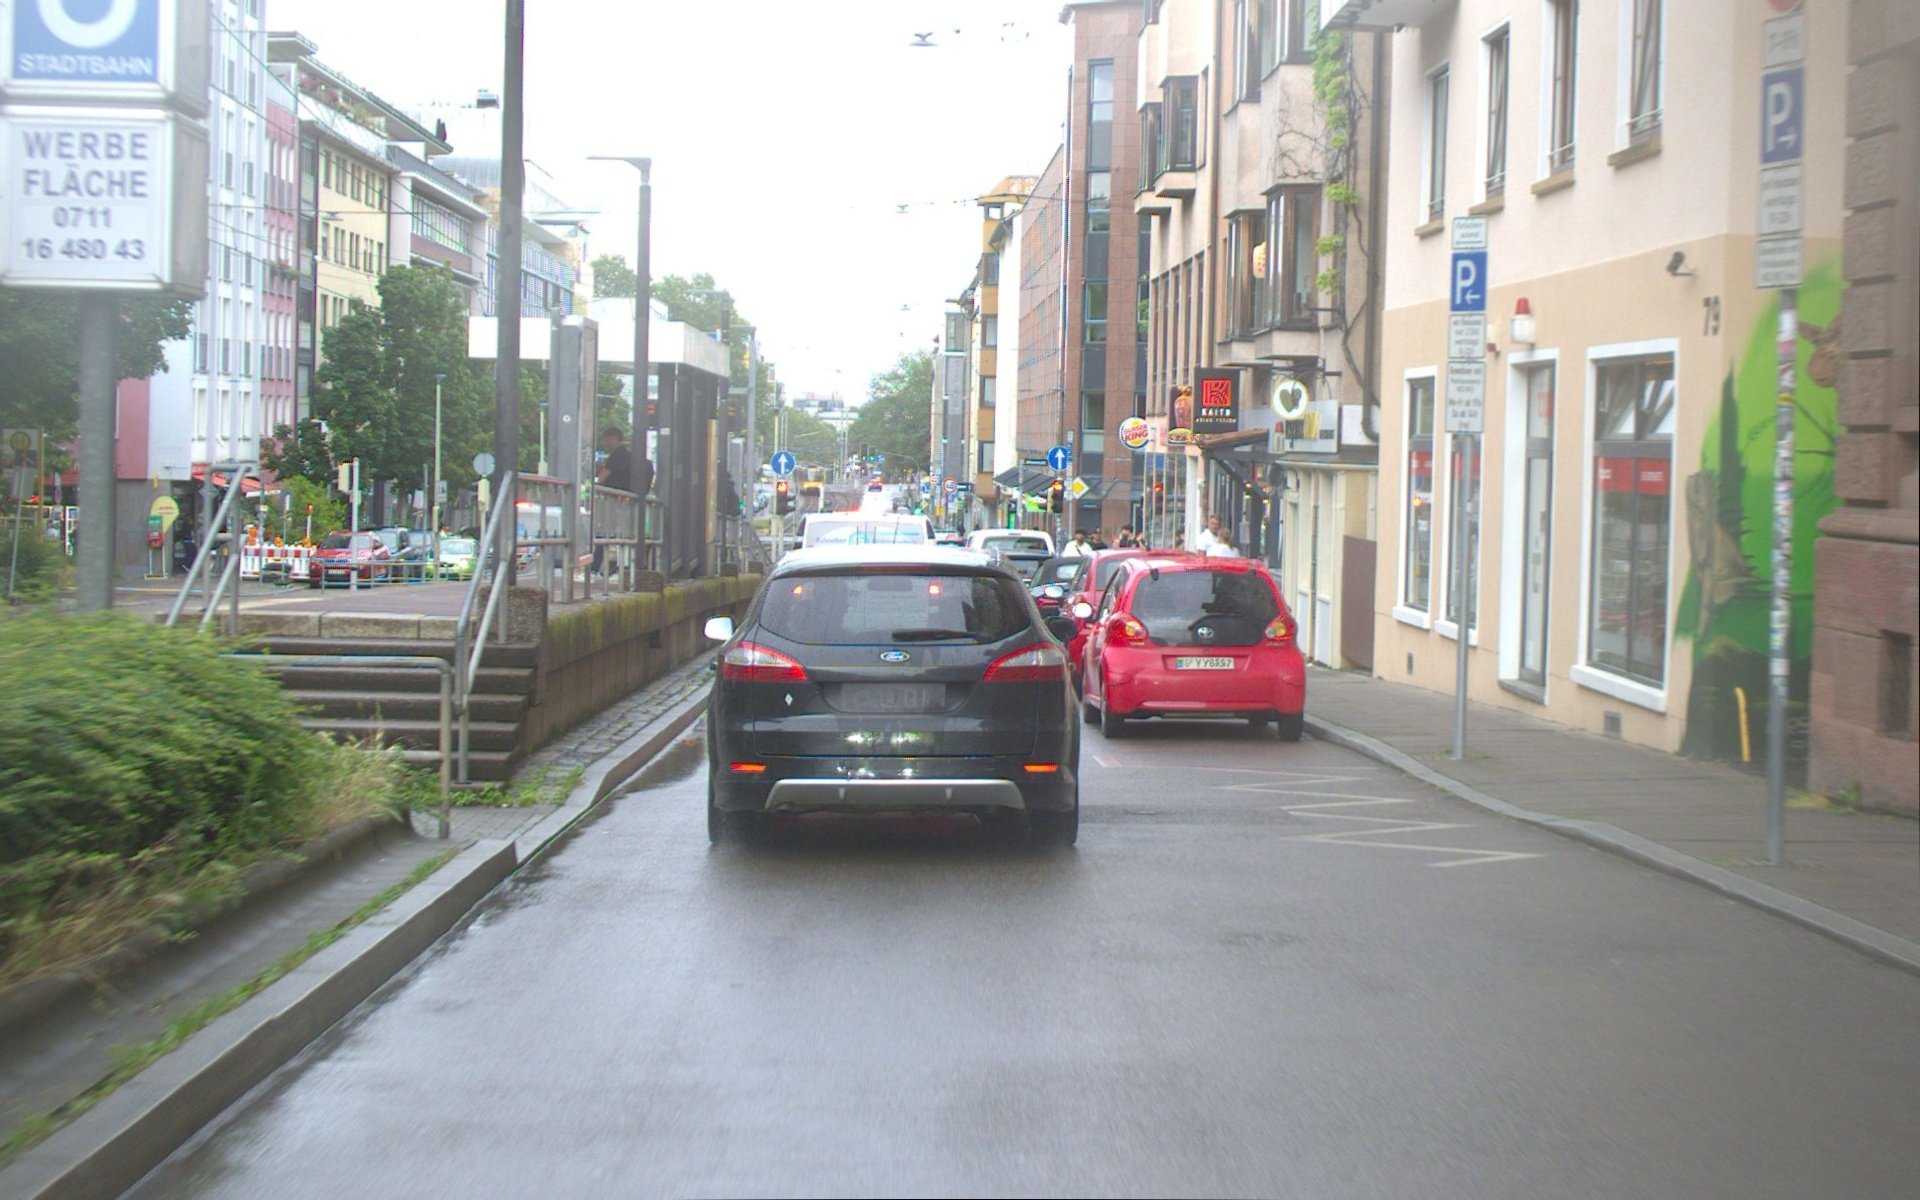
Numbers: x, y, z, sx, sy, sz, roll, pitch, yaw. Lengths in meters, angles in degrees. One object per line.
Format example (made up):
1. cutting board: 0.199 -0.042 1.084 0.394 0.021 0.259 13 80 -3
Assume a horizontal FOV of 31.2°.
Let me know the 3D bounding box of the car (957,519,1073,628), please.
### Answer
1. car: 0.944 -0.439 60.930 1.839 1.775 3.779 3 -1 -1

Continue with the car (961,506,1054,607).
1. car: 0.899 -0.816 66.594 1.591 1.775 3.779 3 -1 -1

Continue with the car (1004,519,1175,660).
1. car: 1.576 -0.110 43.139 1.858 1.579 3.779 3 -1 -1

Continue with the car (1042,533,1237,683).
1. car: 1.758 0.046 34.624 1.670 1.416 3.476 1 1 -1

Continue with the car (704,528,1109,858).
1. car: -0.357 0.401 17.738 1.842 1.502 4.001 0 1 -3

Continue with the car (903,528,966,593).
1. car: -0.870 -1.307 116.371 1.993 2.007 4.000 3 -1 -1

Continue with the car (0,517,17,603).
1. car: -16.368 -0.677 54.863 1.550 1.390 4.046 2 0 -1

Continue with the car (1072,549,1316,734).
1. car: 1.874 0.296 28.407 1.670 1.416 3.476 1 1 -1

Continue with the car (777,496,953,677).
1. car: -1.179 -0.225 41.942 1.988 2.053 4.646 1 2 -2
